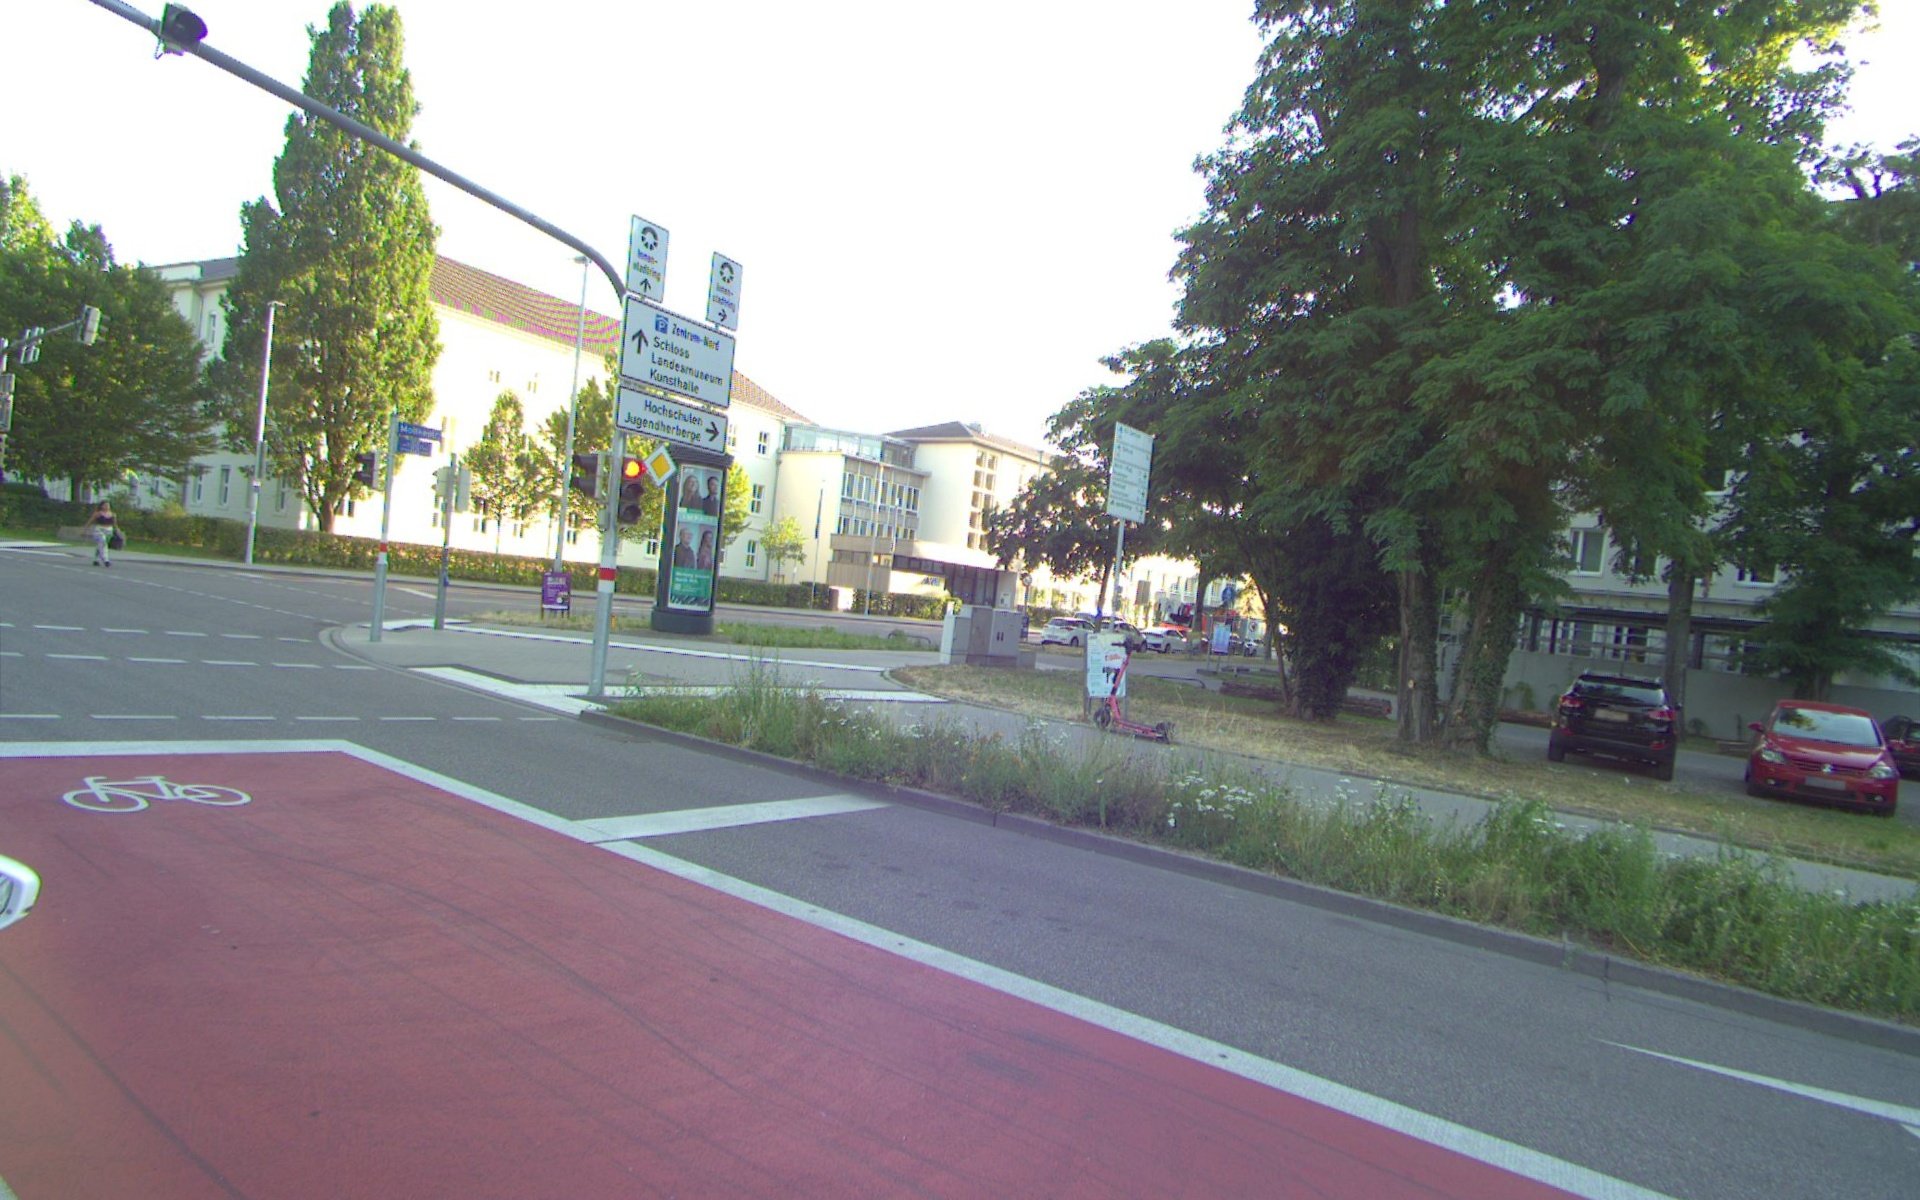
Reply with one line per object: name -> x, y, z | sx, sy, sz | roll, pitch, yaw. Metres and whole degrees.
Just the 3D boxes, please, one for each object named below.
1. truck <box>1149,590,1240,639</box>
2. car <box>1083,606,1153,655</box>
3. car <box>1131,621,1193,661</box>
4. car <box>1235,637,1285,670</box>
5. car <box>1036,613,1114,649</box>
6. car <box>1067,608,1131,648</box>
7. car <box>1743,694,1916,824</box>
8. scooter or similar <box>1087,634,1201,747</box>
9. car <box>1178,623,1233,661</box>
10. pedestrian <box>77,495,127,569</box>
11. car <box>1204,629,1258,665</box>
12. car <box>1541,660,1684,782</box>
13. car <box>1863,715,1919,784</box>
truck -> 15.870, 1.062, 67.462 | 2.327, 2.315, 10.049 | 7, -1, 34
car -> 8.072, 1.584, 51.188 | 1.713, 2.038, 3.988 | 7, -1, 36
car -> 11.081, 2.269, 55.105 | 1.720, 1.783, 3.989 | 7, -1, 35
car -> 20.381, 3.659, 68.234 | 1.873, 1.831, 3.988 | 7, -1, 36
car -> 5.484, 1.490, 47.708 | 1.793, 1.358, 3.985 | 6, 0, 37
car -> 7.672, 1.547, 55.309 | 1.720, 1.783, 3.989 | 7, -1, 35
car -> 13.995, 2.457, 16.402 | 1.759, 1.581, 3.984 | 7, 0, 38
scooter or similar -> 2.330, 1.135, 12.808 | 1.289, 1.247, 0.311 | 7, 1, 32
car -> 14.615, 2.496, 59.727 | 1.698, 1.879, 3.989 | 7, -1, 35
pedestrian -> -20.516, -1.625, 24.059 | 0.680, 1.656, 0.600 | 8, 1, 31
car -> 17.231, 3.033, 63.857 | 1.789, 1.893, 4.136 | 7, -1, 35
car -> 11.767, 2.112, 18.064 | 1.808, 1.715, 3.899 | 7, -1, 36
car -> 23.182, 3.627, 24.030 | 1.873, 1.459, 3.987 | 7, -1, 37
